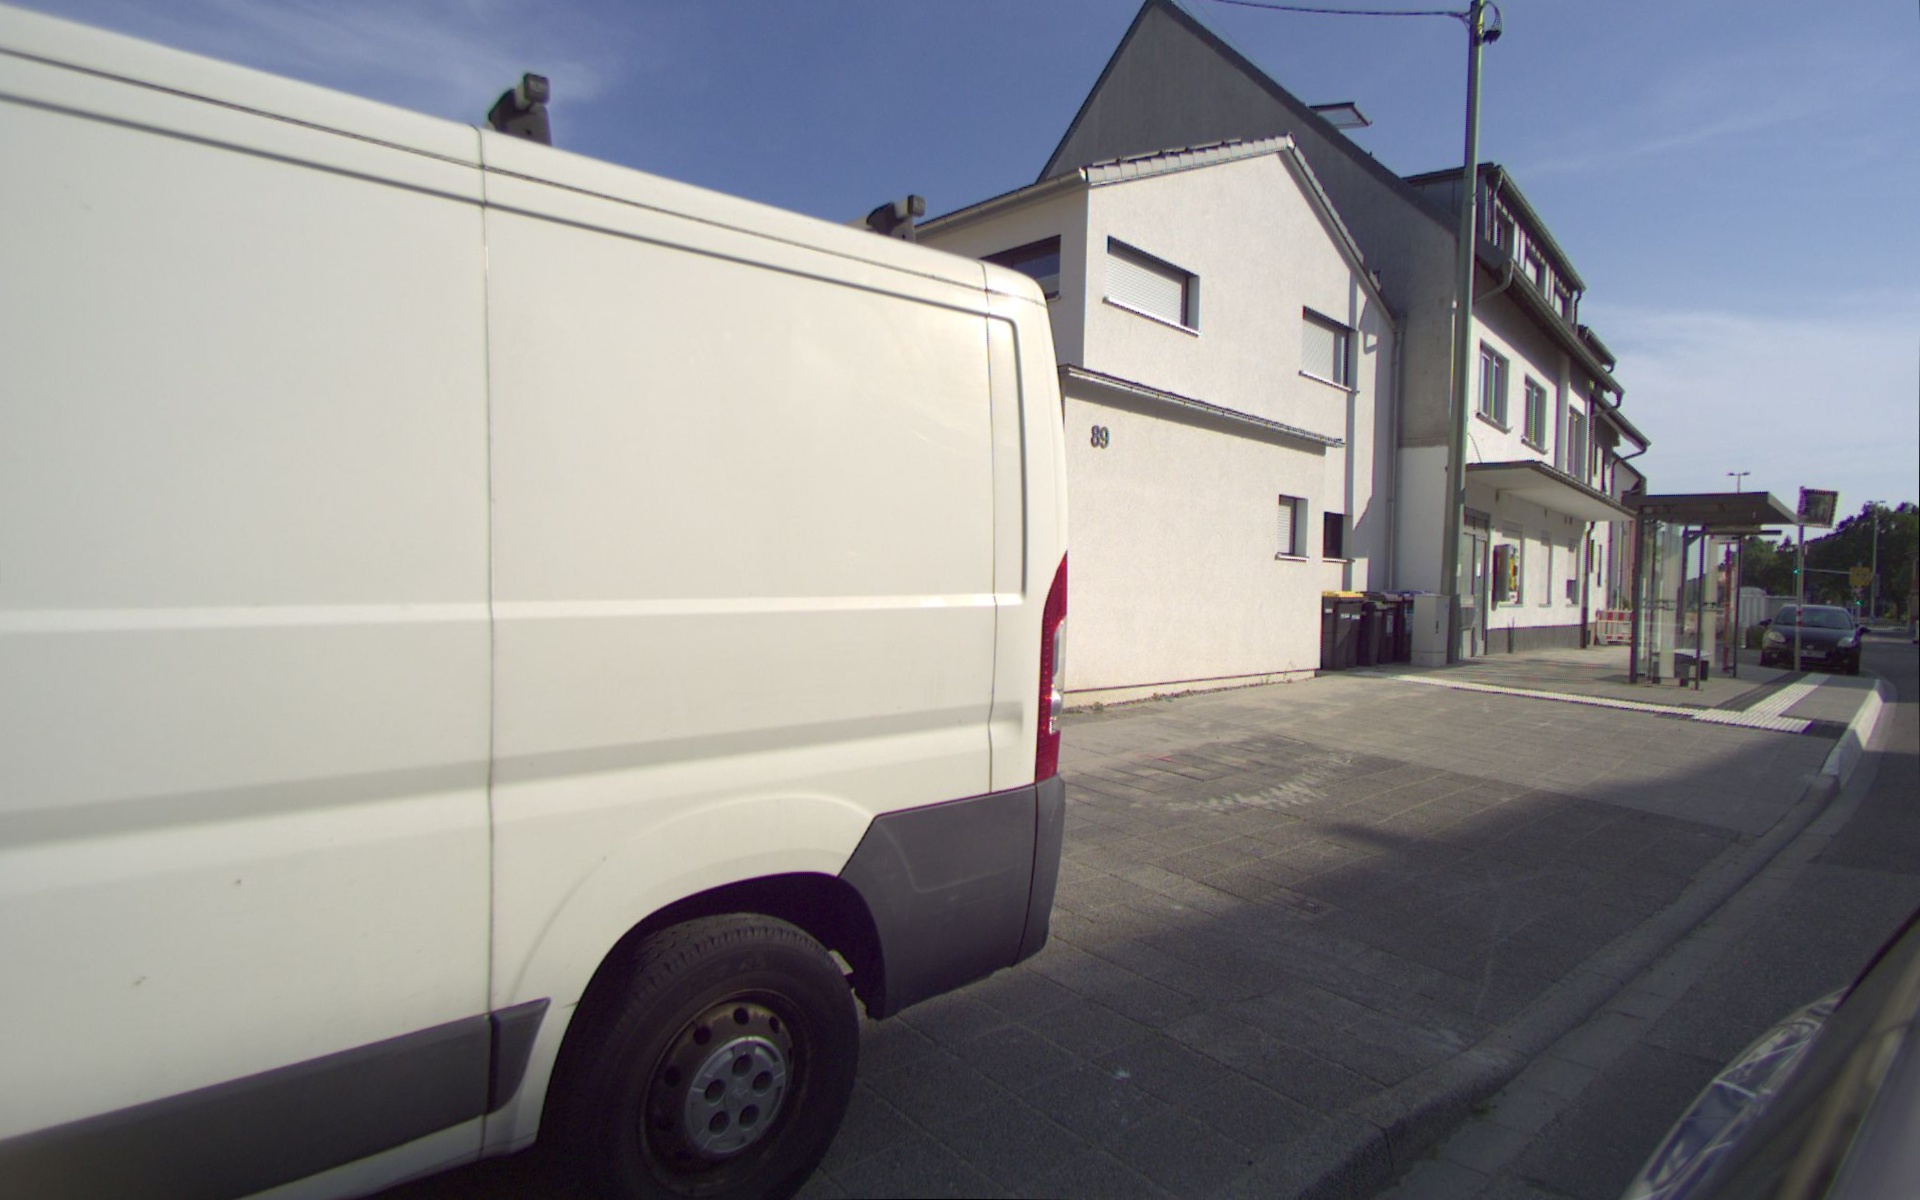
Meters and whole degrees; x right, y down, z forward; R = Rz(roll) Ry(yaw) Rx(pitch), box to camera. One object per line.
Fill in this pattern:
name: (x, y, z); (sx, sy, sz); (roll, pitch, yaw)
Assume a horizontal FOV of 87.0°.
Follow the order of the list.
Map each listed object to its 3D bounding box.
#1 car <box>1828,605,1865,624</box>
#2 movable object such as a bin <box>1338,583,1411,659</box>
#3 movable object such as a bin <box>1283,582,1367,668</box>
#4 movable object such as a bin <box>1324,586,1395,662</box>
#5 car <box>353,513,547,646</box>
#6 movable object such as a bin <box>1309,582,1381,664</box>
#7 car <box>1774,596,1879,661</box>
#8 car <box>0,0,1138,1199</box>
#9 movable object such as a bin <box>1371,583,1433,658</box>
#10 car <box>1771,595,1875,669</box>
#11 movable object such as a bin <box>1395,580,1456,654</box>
car: (72.385, 1.133, 82.657); (1.784, 1.460, 3.949); (1, 0, 35)
movable object such as a bin: (6.199, 0.304, 15.130); (0.592, 1.072, 0.812); (0, 2, -44)
movable object such as a bin: (5.033, 0.322, 13.948); (0.755, 1.106, 0.812); (0, 2, -44)
movable object such as a bin: (5.799, 0.332, 14.715); (0.462, 1.049, 0.812); (0, 2, -44)
car: (-8.300, -0.361, 16.310); (1.889, 1.869, 3.831); (1, 2, -41)
movable object such as a bin: (5.465, 0.309, 14.382); (0.436, 1.106, 0.812); (1, 2, -44)
car: (22.530, 0.695, 26.460); (1.712, 1.415, 4.276); (6, 4, 37)
car: (-2.139, 0.012, 1.915); (4.909, 2.356, 2.180); (1, 3, -40)
movable object such as a bin: (6.807, 0.304, 15.588); (0.696, 1.106, 0.550); (3, 2, 44)
car: (19.287, 0.649, 22.626); (1.607, 1.438, 3.861); (3, 2, 41)
movable object such as a bin: (7.385, 0.258, 16.069); (0.549, 1.106, 0.697); (0, 2, -44)
